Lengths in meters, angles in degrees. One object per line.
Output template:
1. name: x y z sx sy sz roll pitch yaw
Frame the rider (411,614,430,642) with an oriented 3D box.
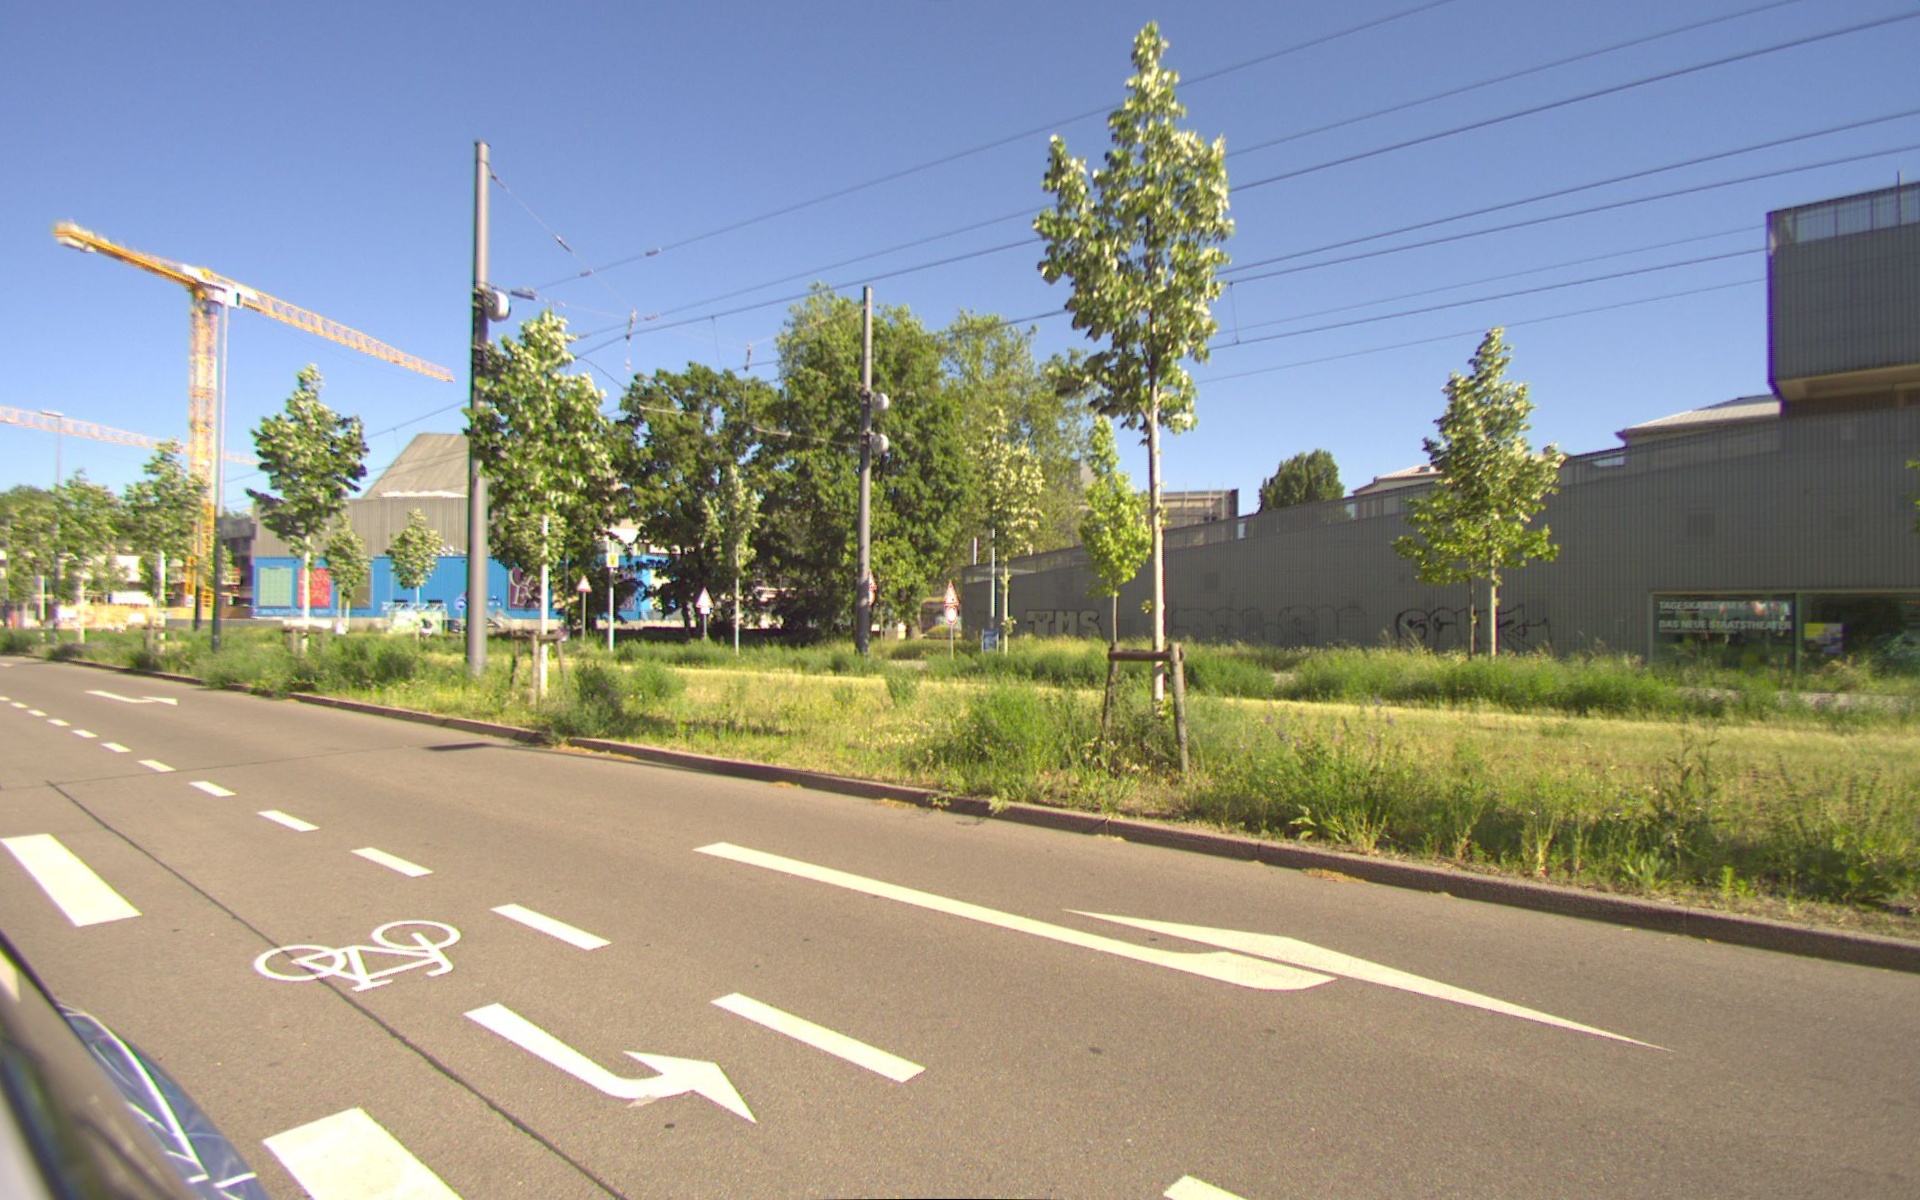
1. rider: -29.273 1.523 54.957 0.631 1.534 0.715 -1 -2 38
